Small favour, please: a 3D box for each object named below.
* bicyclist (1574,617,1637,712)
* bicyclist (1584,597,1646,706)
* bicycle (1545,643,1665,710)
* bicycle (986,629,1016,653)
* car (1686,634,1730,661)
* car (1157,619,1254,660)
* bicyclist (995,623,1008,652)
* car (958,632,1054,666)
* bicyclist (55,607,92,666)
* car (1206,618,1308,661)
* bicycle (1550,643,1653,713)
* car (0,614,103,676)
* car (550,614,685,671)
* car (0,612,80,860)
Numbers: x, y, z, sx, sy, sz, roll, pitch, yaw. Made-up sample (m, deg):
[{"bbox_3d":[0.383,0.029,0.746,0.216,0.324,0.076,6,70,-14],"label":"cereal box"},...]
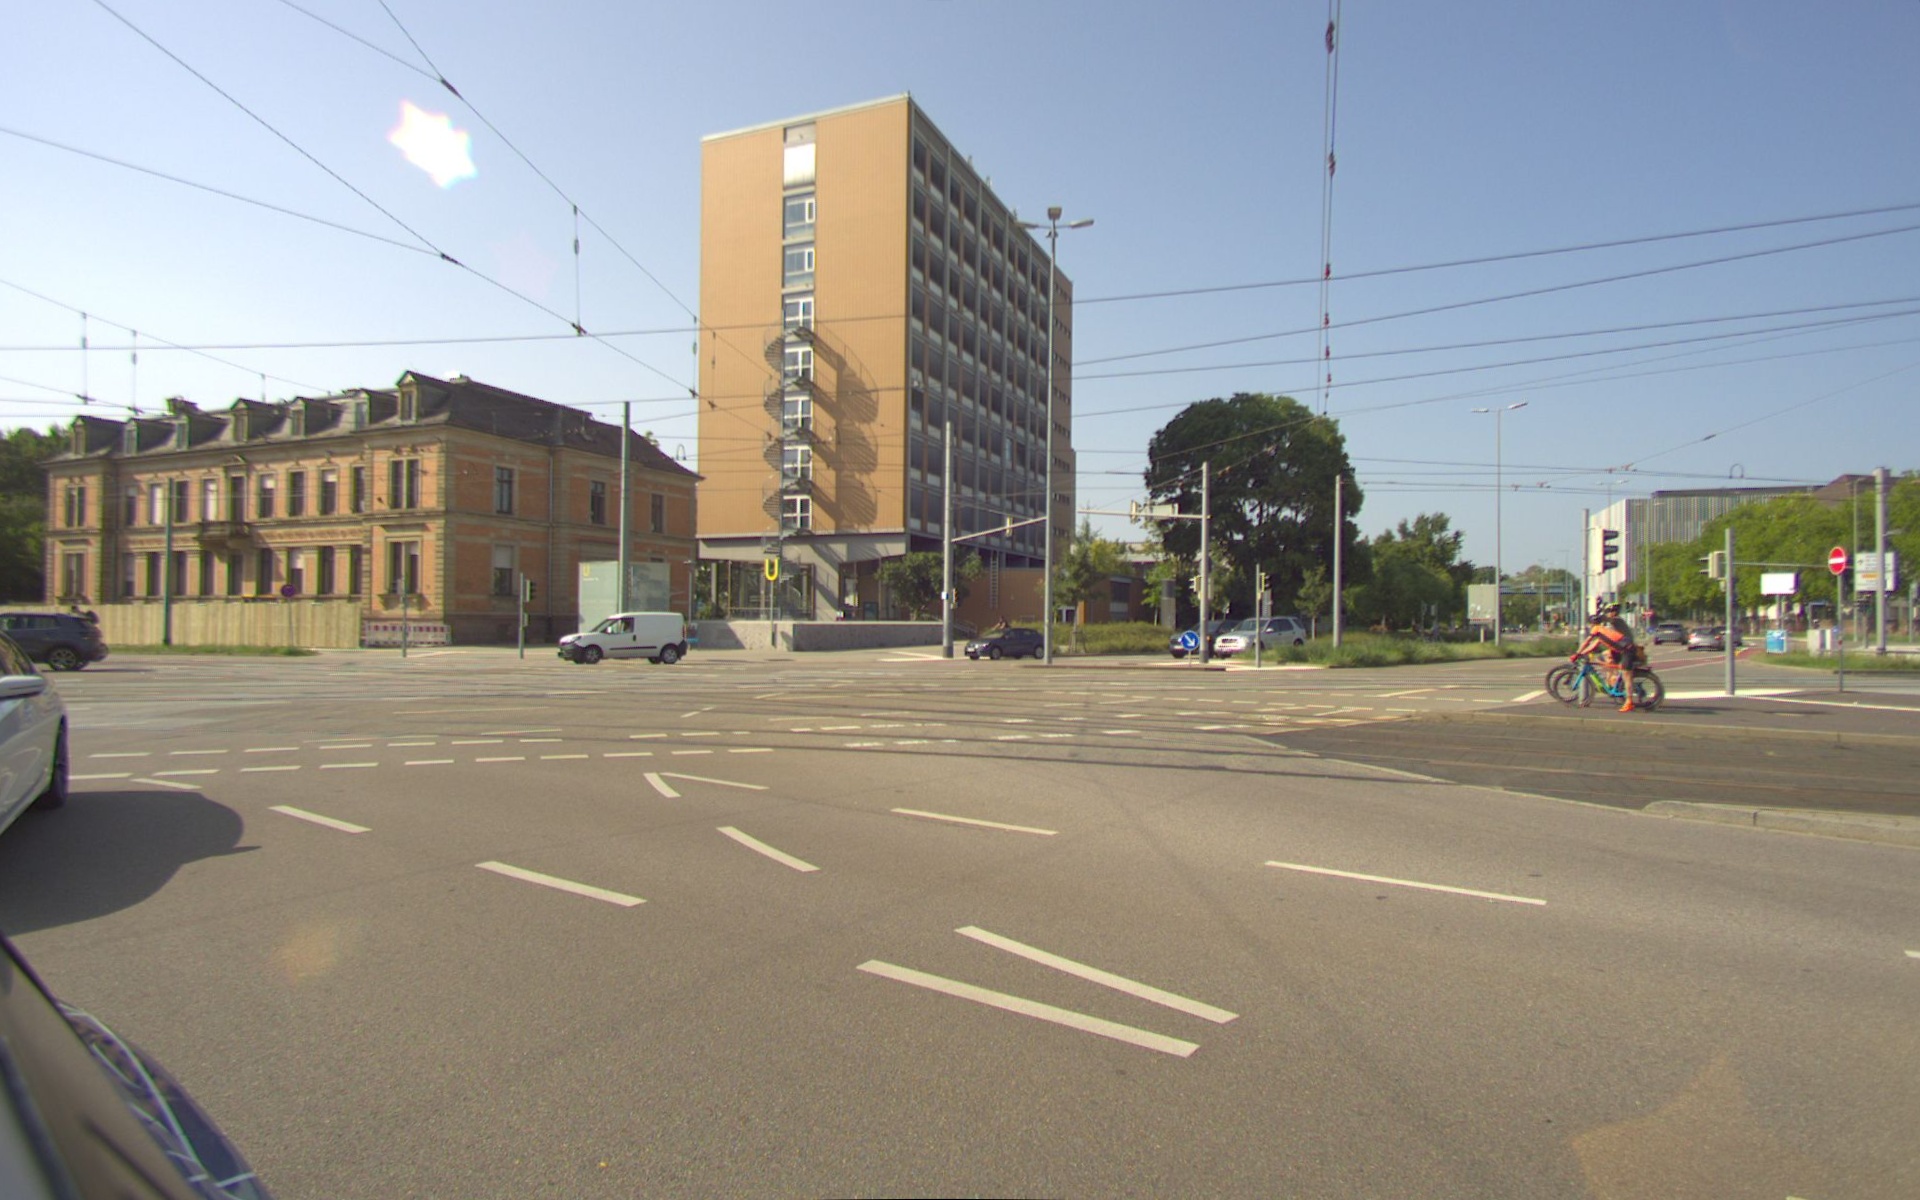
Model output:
[{"bbox_3d":[11.420,1.122,17.913,0.504,1.642,0.809,1,-2,-40],"label":"bicyclist"},{"bbox_3d":[12.225,0.949,18.894,0.572,1.989,0.809,1,-2,-40],"label":"bicyclist"},{"bbox_3d":[12.088,1.407,19.019,0.371,1.174,1.862,1,-2,-39],"label":"bicycle"},{"bbox_3d":[2.183,2.164,53.590,1.744,1.203,0.402,2,-2,-38],"label":"bicycle"},{"bbox_3d":[44.372,2.817,59.999,1.782,1.519,3.945,-1,-2,41],"label":"car"},{"bbox_3d":[10.936,1.770,44.986,4.219,1.720,1.930,1,-4,-37],"label":"car"},{"bbox_3d":[2.218,1.981,53.647,0.540,1.491,0.398,1,-2,-37],"label":"bicyclist"},{"bbox_3d":[2.097,2.203,45.606,4.219,1.476,1.678,1,-4,-37],"label":"car"},{"bbox_3d":[-28.899,1.190,32.996,0.698,1.876,0.785,1,-2,-26],"label":"bicyclist"},{"bbox_3d":[12.354,1.651,42.032,4.220,1.720,1.956,2,-4,-38],"label":"car"},{"bbox_3d":[11.375,1.356,17.988,0.307,1.174,1.502,1,-2,-39],"label":"bicycle"},{"bbox_3d":[-25.429,1.194,26.838,3.910,1.594,1.748,1,-3,-35],"label":"car"},{"bbox_3d":[-12.072,1.519,35.776,4.218,1.901,1.799,1,-4,-34],"label":"car"},{"bbox_3d":[-6.446,0.814,5.559,1.785,1.438,4.787,-2,0,-33],"label":"car"}]
